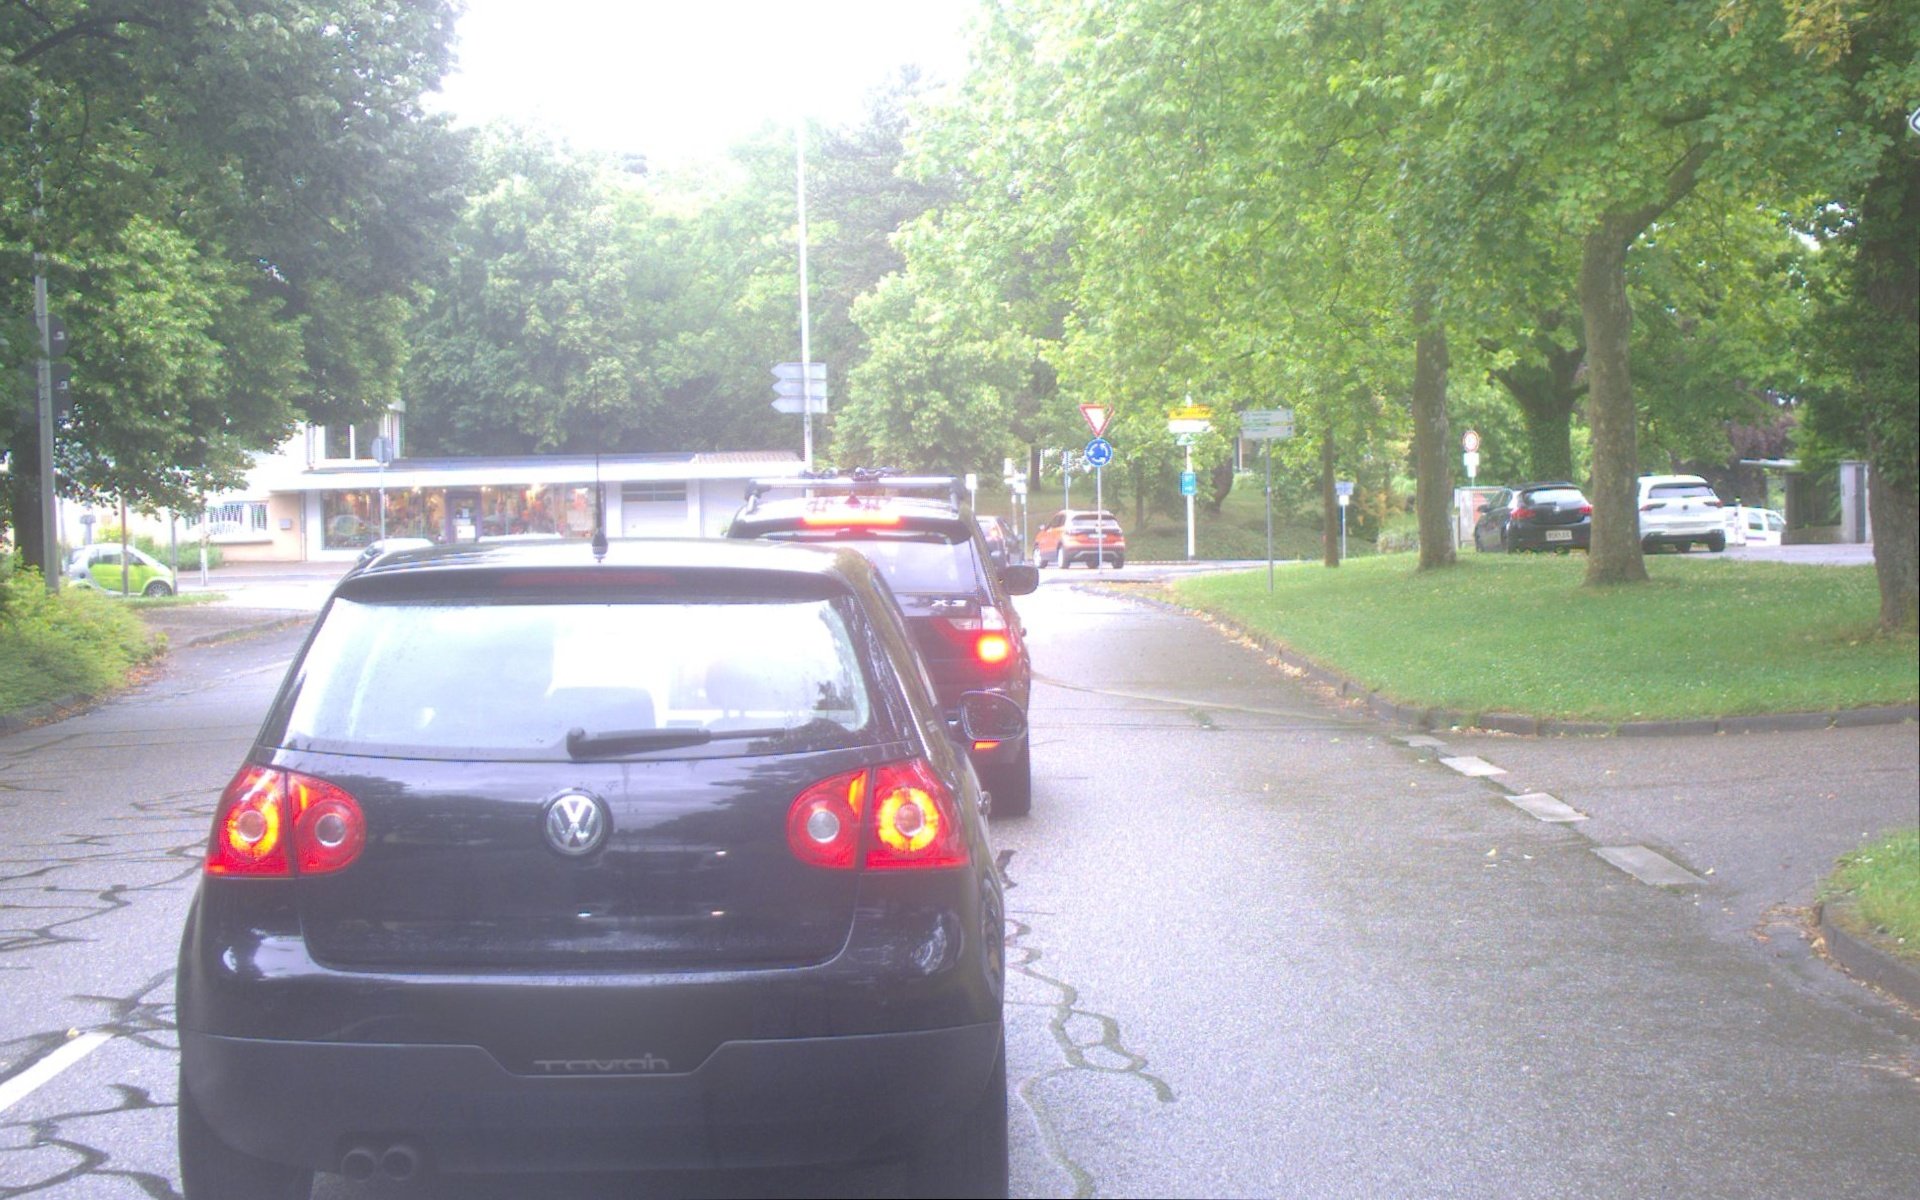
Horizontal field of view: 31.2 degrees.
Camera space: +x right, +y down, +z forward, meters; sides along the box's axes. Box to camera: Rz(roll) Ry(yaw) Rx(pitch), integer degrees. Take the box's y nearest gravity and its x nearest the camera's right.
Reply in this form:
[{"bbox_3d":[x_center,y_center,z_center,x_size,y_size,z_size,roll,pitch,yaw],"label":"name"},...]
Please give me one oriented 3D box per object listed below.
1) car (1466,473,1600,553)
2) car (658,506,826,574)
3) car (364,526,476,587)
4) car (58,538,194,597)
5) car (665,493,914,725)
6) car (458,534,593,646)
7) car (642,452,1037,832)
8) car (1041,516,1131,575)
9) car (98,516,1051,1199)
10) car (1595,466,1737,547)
[{"bbox_3d":[10.932,-1.682,65.773,1.803,1.380,4.000,-3,2,0],"label":"car"},{"bbox_3d":[-5.253,-1.454,83.110,3.792,1.612,1.777,0,1,7],"label":"car"},{"bbox_3d":[-13.603,-1.083,86.444,1.797,1.388,3.979,-4,2,-23],"label":"car"},{"bbox_3d":[-20.143,-0.795,83.117,3.119,1.305,1.540,-2,1,-12],"label":"car"},{"bbox_3d":[-1.362,0.039,28.971,1.855,1.778,4.000,-1,1,0],"label":"car"},{"bbox_3d":[-6.271,-0.177,49.977,1.608,1.422,4.009,-2,2,-3],"label":"car"},{"bbox_3d":[-0.576,0.173,18.497,1.855,1.778,4.000,-1,1,0],"label":"car"},{"bbox_3d":[3.391,-1.470,93.273,1.706,1.508,3.674,-2,1,-9],"label":"car"},{"bbox_3d":[-0.727,0.569,8.367,1.798,1.510,3.754,0,1,0],"label":"car"},{"bbox_3d":[13.475,-1.799,65.848,1.803,1.401,4.000,-3,2,0],"label":"car"}]
